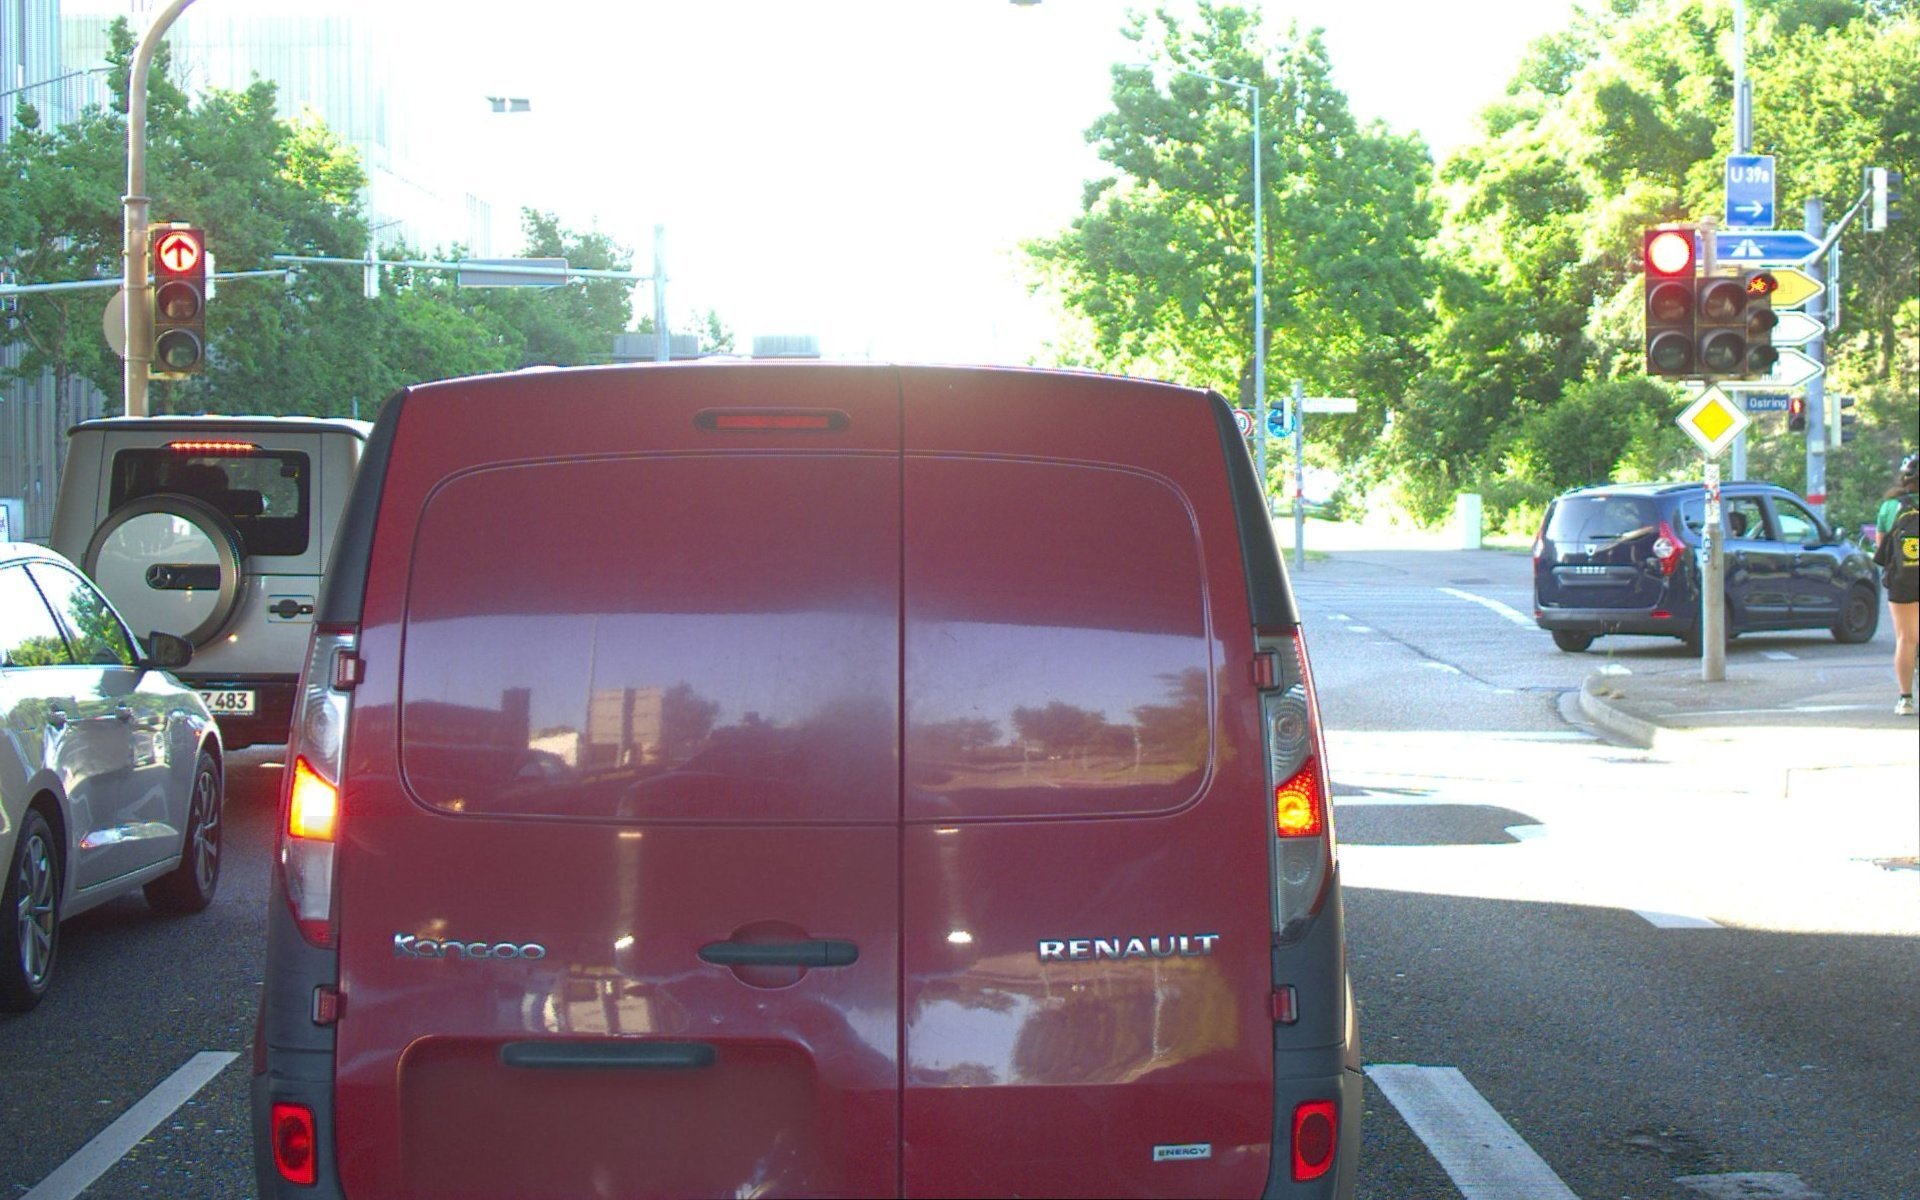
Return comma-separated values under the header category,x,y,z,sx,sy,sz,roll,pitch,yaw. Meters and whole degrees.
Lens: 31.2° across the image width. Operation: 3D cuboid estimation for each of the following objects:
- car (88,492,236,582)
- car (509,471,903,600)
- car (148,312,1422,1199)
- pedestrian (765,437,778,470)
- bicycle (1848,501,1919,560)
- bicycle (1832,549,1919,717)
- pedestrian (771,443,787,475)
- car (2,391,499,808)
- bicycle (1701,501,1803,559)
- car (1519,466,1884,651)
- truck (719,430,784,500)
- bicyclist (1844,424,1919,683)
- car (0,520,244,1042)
category,x,y,z,sx,sy,sz,roll,pitch,yaw
car,-16.567,-1.342,71.620,1.825,1.731,4.629,-2,2,1
car,-3.153,-0.780,42.974,4.548,1.509,1.828,0,1,-30
car,-0.276,0.476,6.921,1.805,1.788,4.000,1,1,-1
pedestrian,-11.417,-8.878,208.280,0.740,2.007,0.637,1,0,3
bicycle,16.665,-1.222,60.911,1.745,1.020,0.593,1,0,9
bicycle,6.054,0.197,21.759,0.591,1.020,1.750,1,1,-1
pedestrian,-11.549,-8.988,219.107,0.941,2.007,0.694,1,0,3
car,-3.722,-0.026,18.837,1.801,1.982,4.589,1,1,-1
bicycle,14.356,-1.269,62.373,1.745,1.020,0.593,1,0,9
car,7.287,-0.417,33.571,1.723,1.700,3.972,1,1,42
truck,-9.583,-6.191,158.532,2.409,3.016,6.657,-2,2,0
bicyclist,6.044,-0.290,21.826,0.591,1.608,0.942,1,0,-1
car,-3.642,0.469,11.404,1.813,1.433,3.731,0,2,-1
